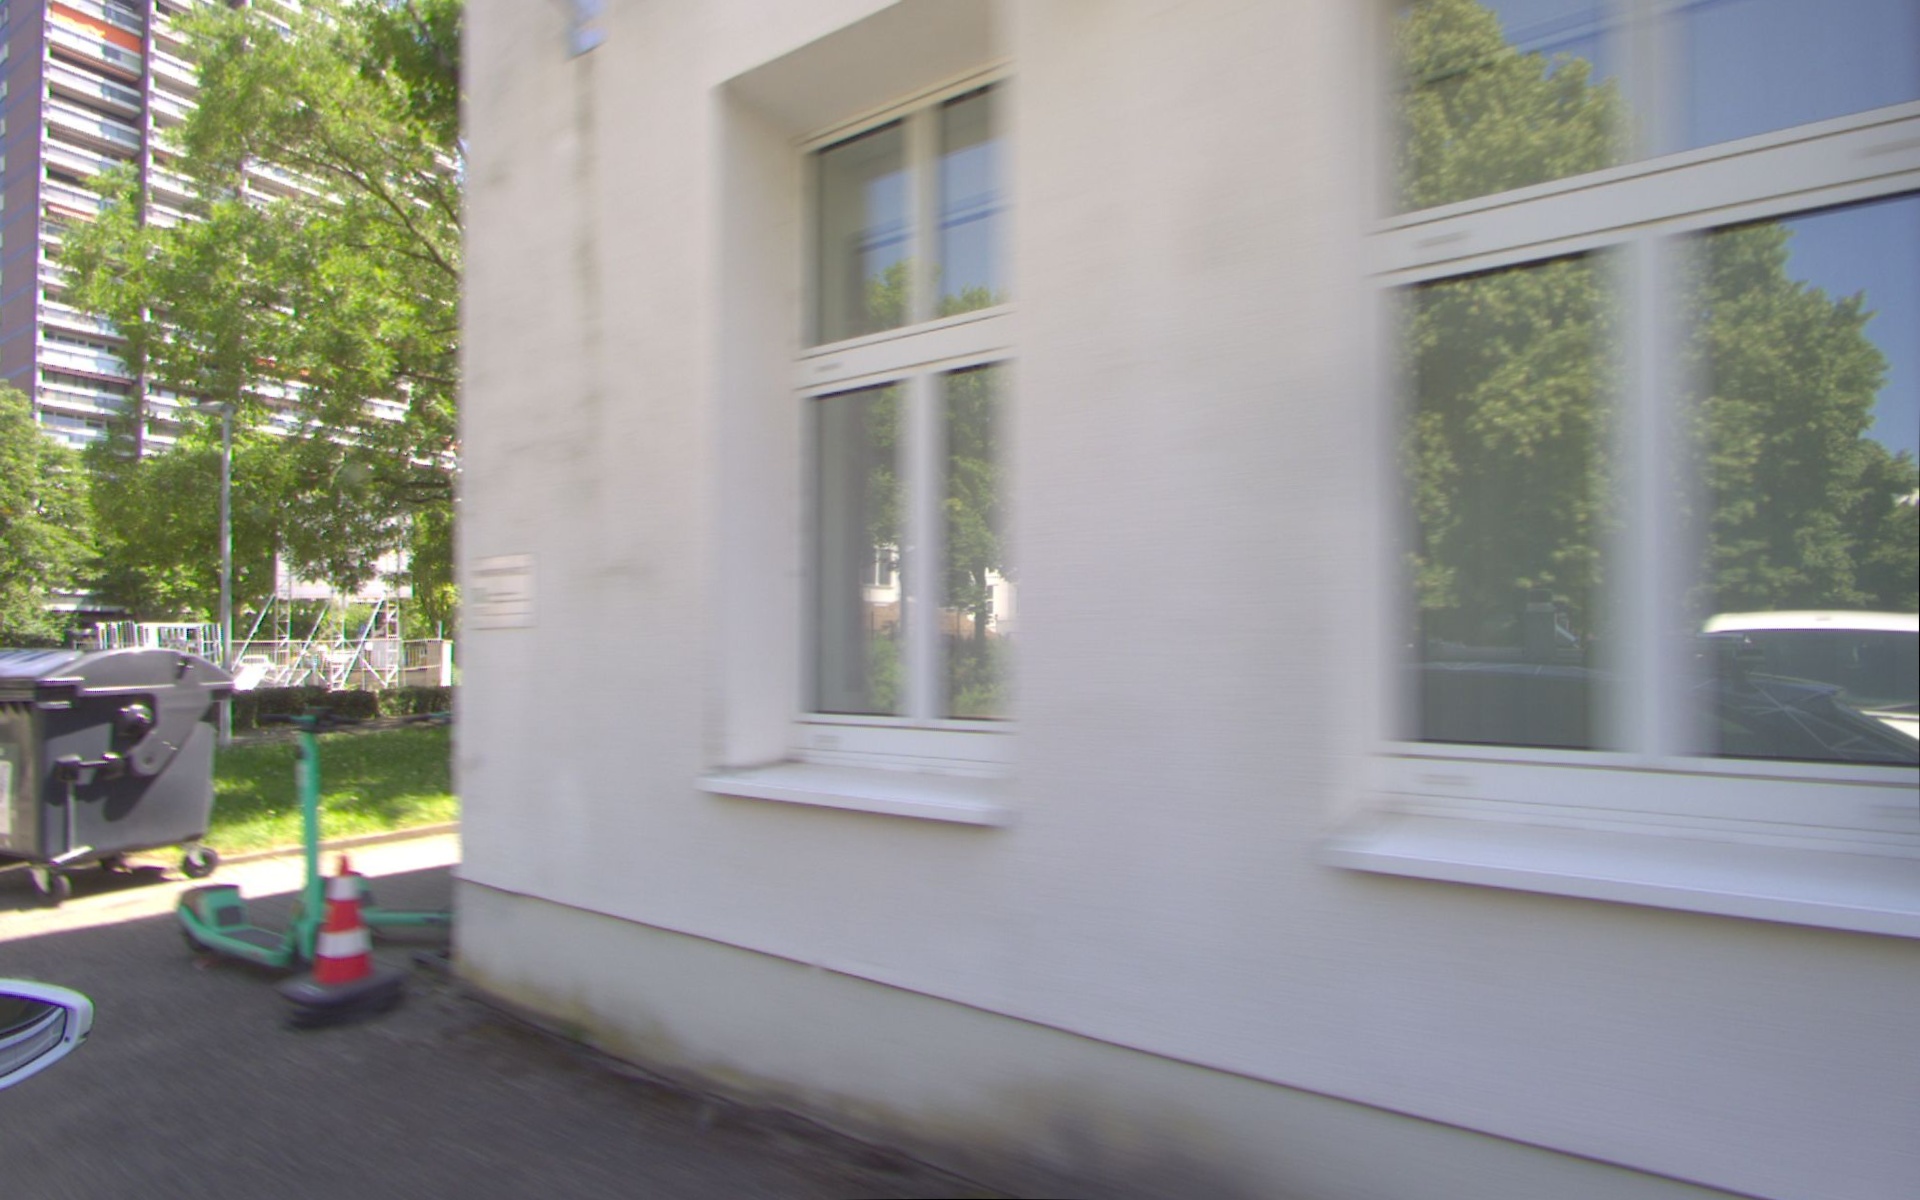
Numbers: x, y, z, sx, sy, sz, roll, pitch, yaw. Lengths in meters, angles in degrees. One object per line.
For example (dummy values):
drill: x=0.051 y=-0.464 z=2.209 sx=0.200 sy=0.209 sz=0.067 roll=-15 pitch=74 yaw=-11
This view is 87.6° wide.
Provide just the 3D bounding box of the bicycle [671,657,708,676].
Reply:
bicycle: x=-16.800 y=4.124 z=62.219 sx=0.771 sy=1.172 sz=2.376 roll=-1 pitch=-3 yaw=29

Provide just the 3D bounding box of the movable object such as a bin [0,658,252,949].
movable object such as a bin: x=-5.394 y=1.121 z=6.117 sx=1.439 sy=1.524 sz=1.156 roll=-1 pitch=-3 yaw=25

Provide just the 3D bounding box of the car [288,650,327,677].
car: x=-36.371 y=3.526 z=55.779 sx=1.618 sy=1.404 sz=3.653 roll=2 pitch=-3 yaw=-36

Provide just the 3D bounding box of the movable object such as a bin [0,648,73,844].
movable object such as a bin: x=-7.961 y=1.122 z=7.815 sx=1.292 sy=1.488 sz=1.178 roll=-1 pitch=-3 yaw=30

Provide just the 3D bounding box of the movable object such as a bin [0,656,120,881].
movable object such as a bin: x=-6.889 y=1.131 z=6.959 sx=1.291 sy=1.488 sz=1.179 roll=-1 pitch=-3 yaw=28

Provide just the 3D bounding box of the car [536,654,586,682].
car: x=-21.766 y=3.684 z=54.603 sx=1.619 sy=1.482 sz=3.652 roll=2 pitch=-4 yaw=-37

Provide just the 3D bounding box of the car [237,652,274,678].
car: x=-39.657 y=3.644 z=56.375 sx=1.618 sy=1.404 sz=3.653 roll=2 pitch=-3 yaw=-36

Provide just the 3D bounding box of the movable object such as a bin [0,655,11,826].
movable object such as a bin: x=-9.176 y=1.208 z=8.552 sx=1.291 sy=1.488 sz=1.179 roll=-1 pitch=-3 yaw=29

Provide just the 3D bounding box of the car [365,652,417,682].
car: x=-29.785 y=3.492 z=52.352 sx=1.622 sy=1.482 sz=3.646 roll=3 pitch=-4 yaw=-41

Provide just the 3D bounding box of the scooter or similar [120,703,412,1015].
scooter or similar: x=-3.157 y=1.092 z=4.541 sx=1.335 sy=1.188 sz=0.464 roll=-1 pitch=-2 yaw=26

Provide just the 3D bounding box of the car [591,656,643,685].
car: x=-18.670 y=3.784 z=54.388 sx=1.619 sy=1.482 sz=3.652 roll=2 pitch=-4 yaw=-37

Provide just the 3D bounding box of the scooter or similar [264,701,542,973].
scooter or similar: x=-2.778 y=1.127 z=5.006 sx=1.233 sy=1.188 sz=0.465 roll=0 pitch=-2 yaw=17

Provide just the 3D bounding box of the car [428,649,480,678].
car: x=-27.354 y=3.427 z=54.107 sx=1.622 sy=1.482 sz=3.646 roll=3 pitch=-4 yaw=-41

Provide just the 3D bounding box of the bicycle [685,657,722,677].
bicycle: x=-15.755 y=4.128 z=61.636 sx=0.771 sy=1.172 sz=2.376 roll=-1 pitch=-3 yaw=29

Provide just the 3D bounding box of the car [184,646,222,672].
car: x=-42.952 y=3.353 z=56.875 sx=1.618 sy=1.404 sz=3.653 roll=2 pitch=-3 yaw=-36

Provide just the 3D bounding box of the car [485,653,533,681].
car: x=-24.588 y=3.629 z=54.524 sx=1.619 sy=1.482 sz=3.652 roll=2 pitch=-4 yaw=-37
